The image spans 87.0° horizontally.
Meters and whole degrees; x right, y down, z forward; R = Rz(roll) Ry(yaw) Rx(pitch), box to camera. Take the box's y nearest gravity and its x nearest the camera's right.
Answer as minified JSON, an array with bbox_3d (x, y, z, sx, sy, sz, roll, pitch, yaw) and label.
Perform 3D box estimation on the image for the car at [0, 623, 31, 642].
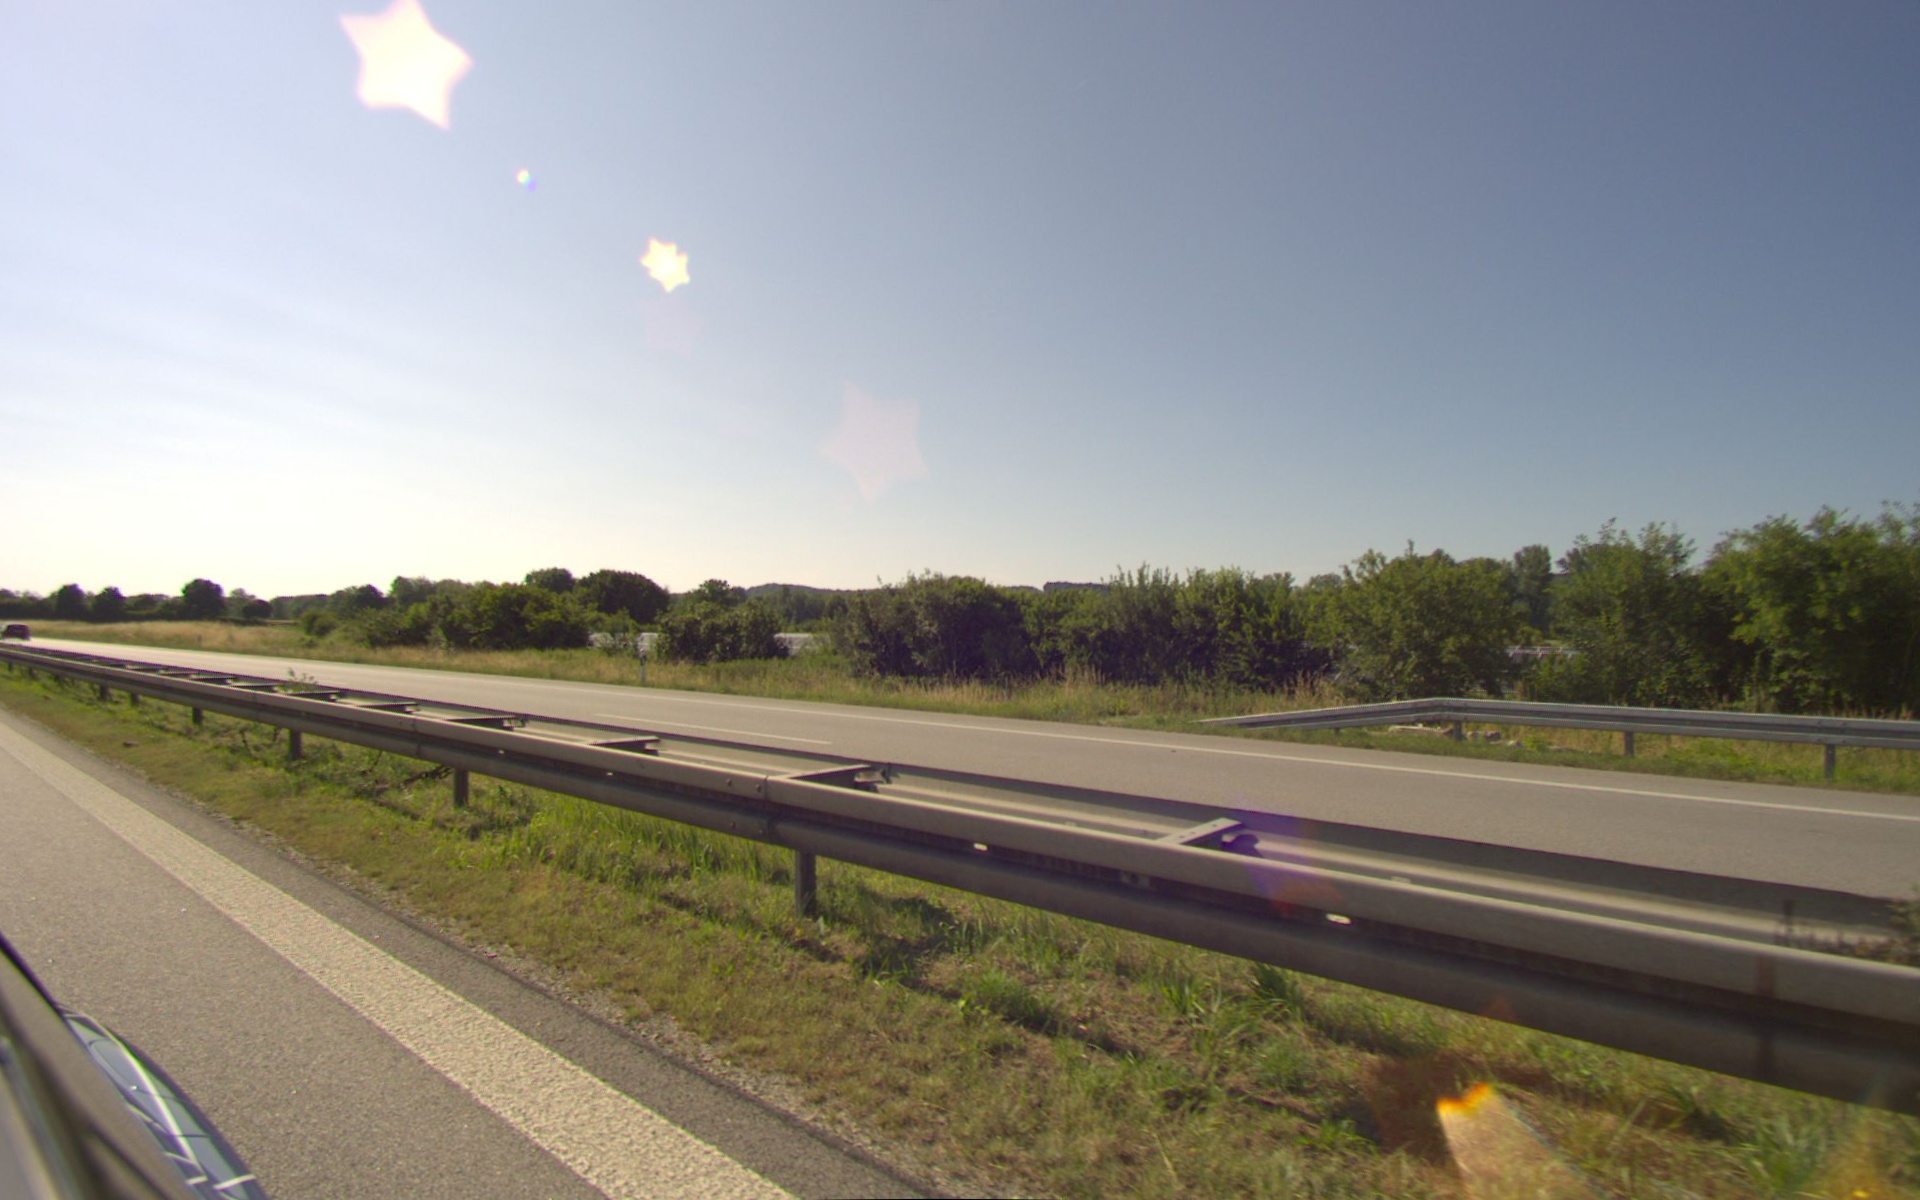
[{"bbox_3d":[-76.363,2.608,81.351,4.920,1.409,1.813,-1,-5,41],"label":"car"}]
